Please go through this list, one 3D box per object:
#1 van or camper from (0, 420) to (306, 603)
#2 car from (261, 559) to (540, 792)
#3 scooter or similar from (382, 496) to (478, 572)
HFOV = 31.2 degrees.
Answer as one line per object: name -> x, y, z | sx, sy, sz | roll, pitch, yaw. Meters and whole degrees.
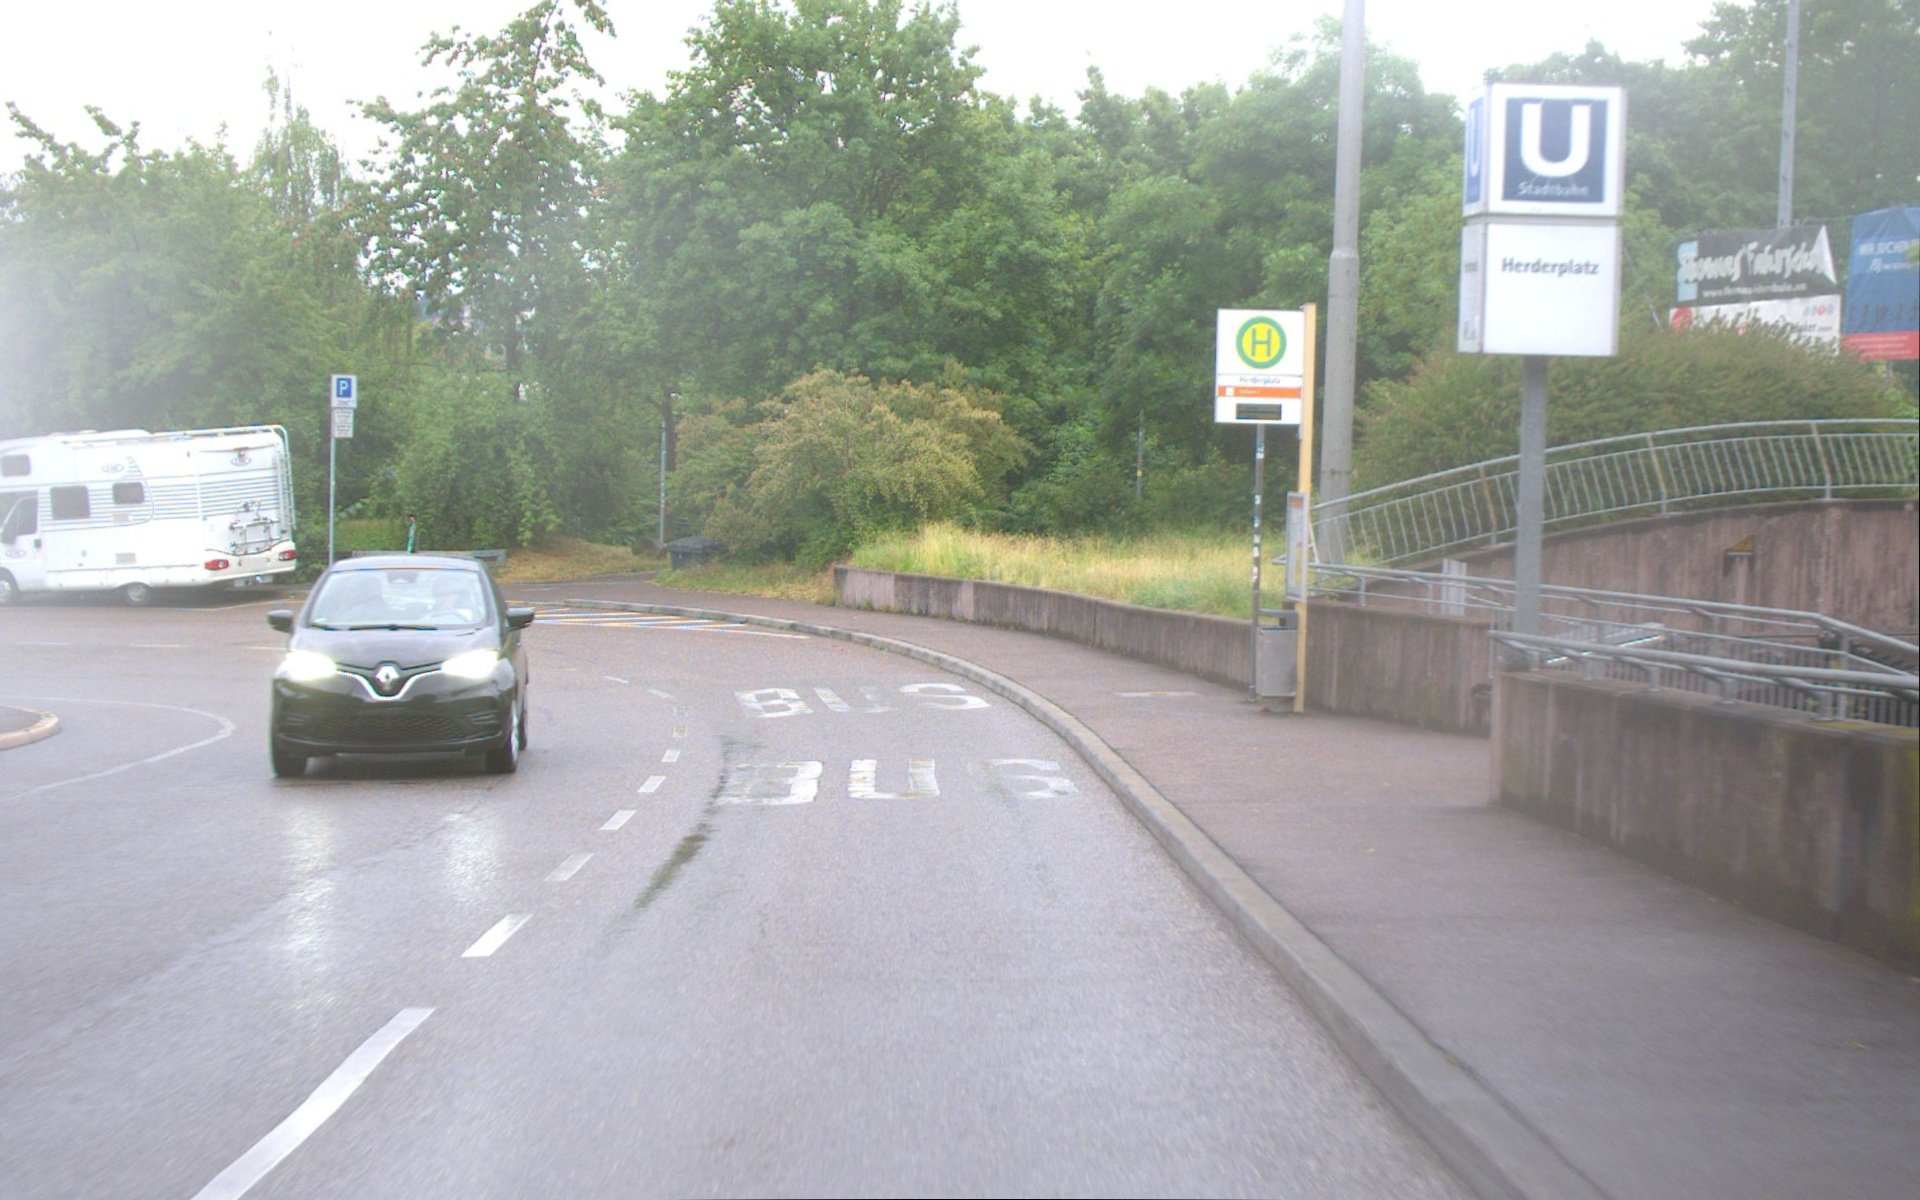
van or camper -> -14.745, -1.552, 60.230 | 6.271, 2.933, 2.394 | 0, 6, 31
car -> -4.044, 0.487, 25.375 | 1.767, 1.515, 3.976 | 0, 1, -5
scooter or similar -> -9.241, -1.151, 59.940 | 1.707, 1.278, 0.451 | -1, 3, 31
